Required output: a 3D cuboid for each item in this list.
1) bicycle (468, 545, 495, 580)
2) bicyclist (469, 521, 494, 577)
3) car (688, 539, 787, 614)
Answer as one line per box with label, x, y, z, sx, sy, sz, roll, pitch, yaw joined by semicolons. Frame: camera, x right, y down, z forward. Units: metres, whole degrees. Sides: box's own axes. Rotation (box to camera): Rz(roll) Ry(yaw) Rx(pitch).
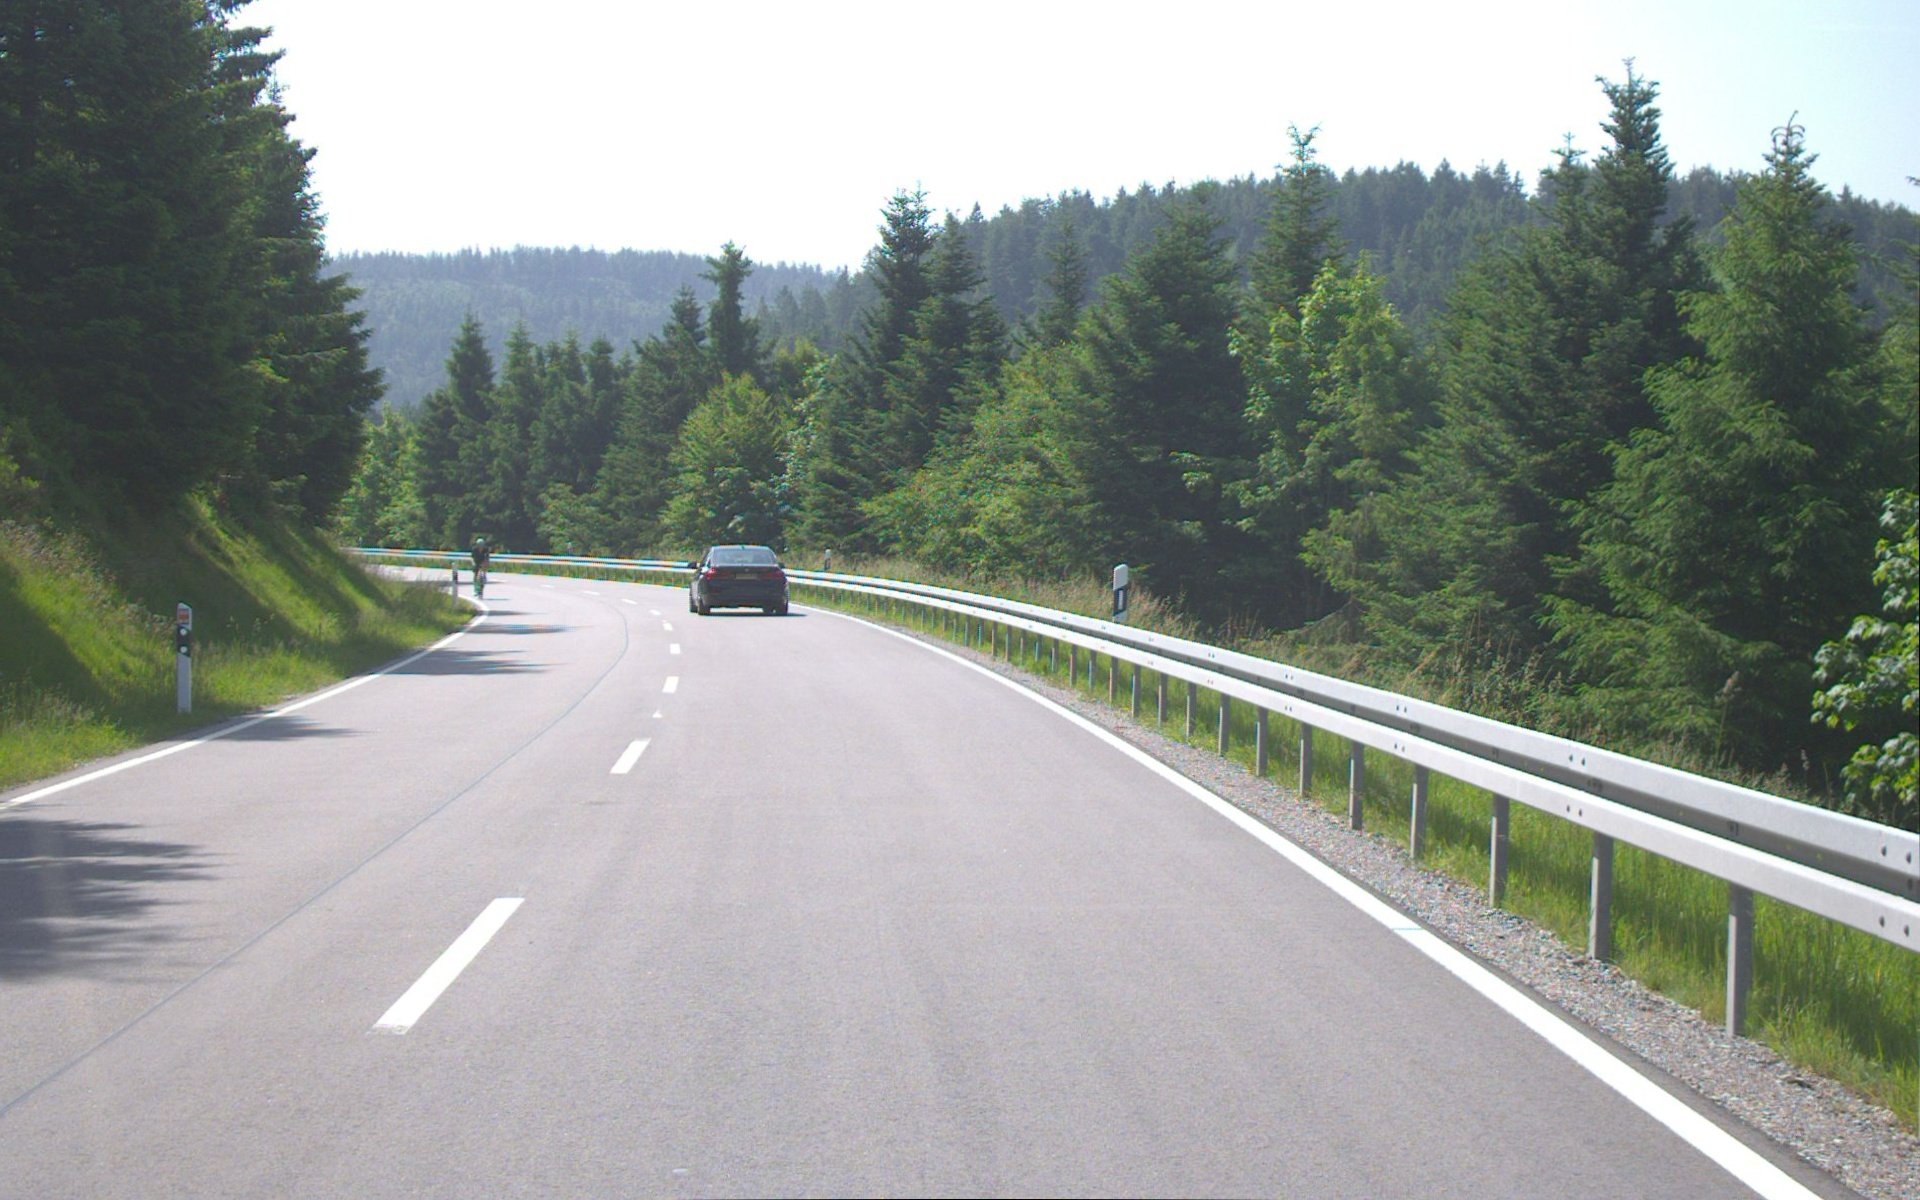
bicycle;-12.561;-0.986;90.301;0.553;0.883;2.063;-1;1;-12
bicyclist;-12.554;-1.342;90.199;0.541;1.446;0.984;-1;1;-12
car;-4.560;-0.499;69.982;1.775;1.437;3.710;-1;1;-7
